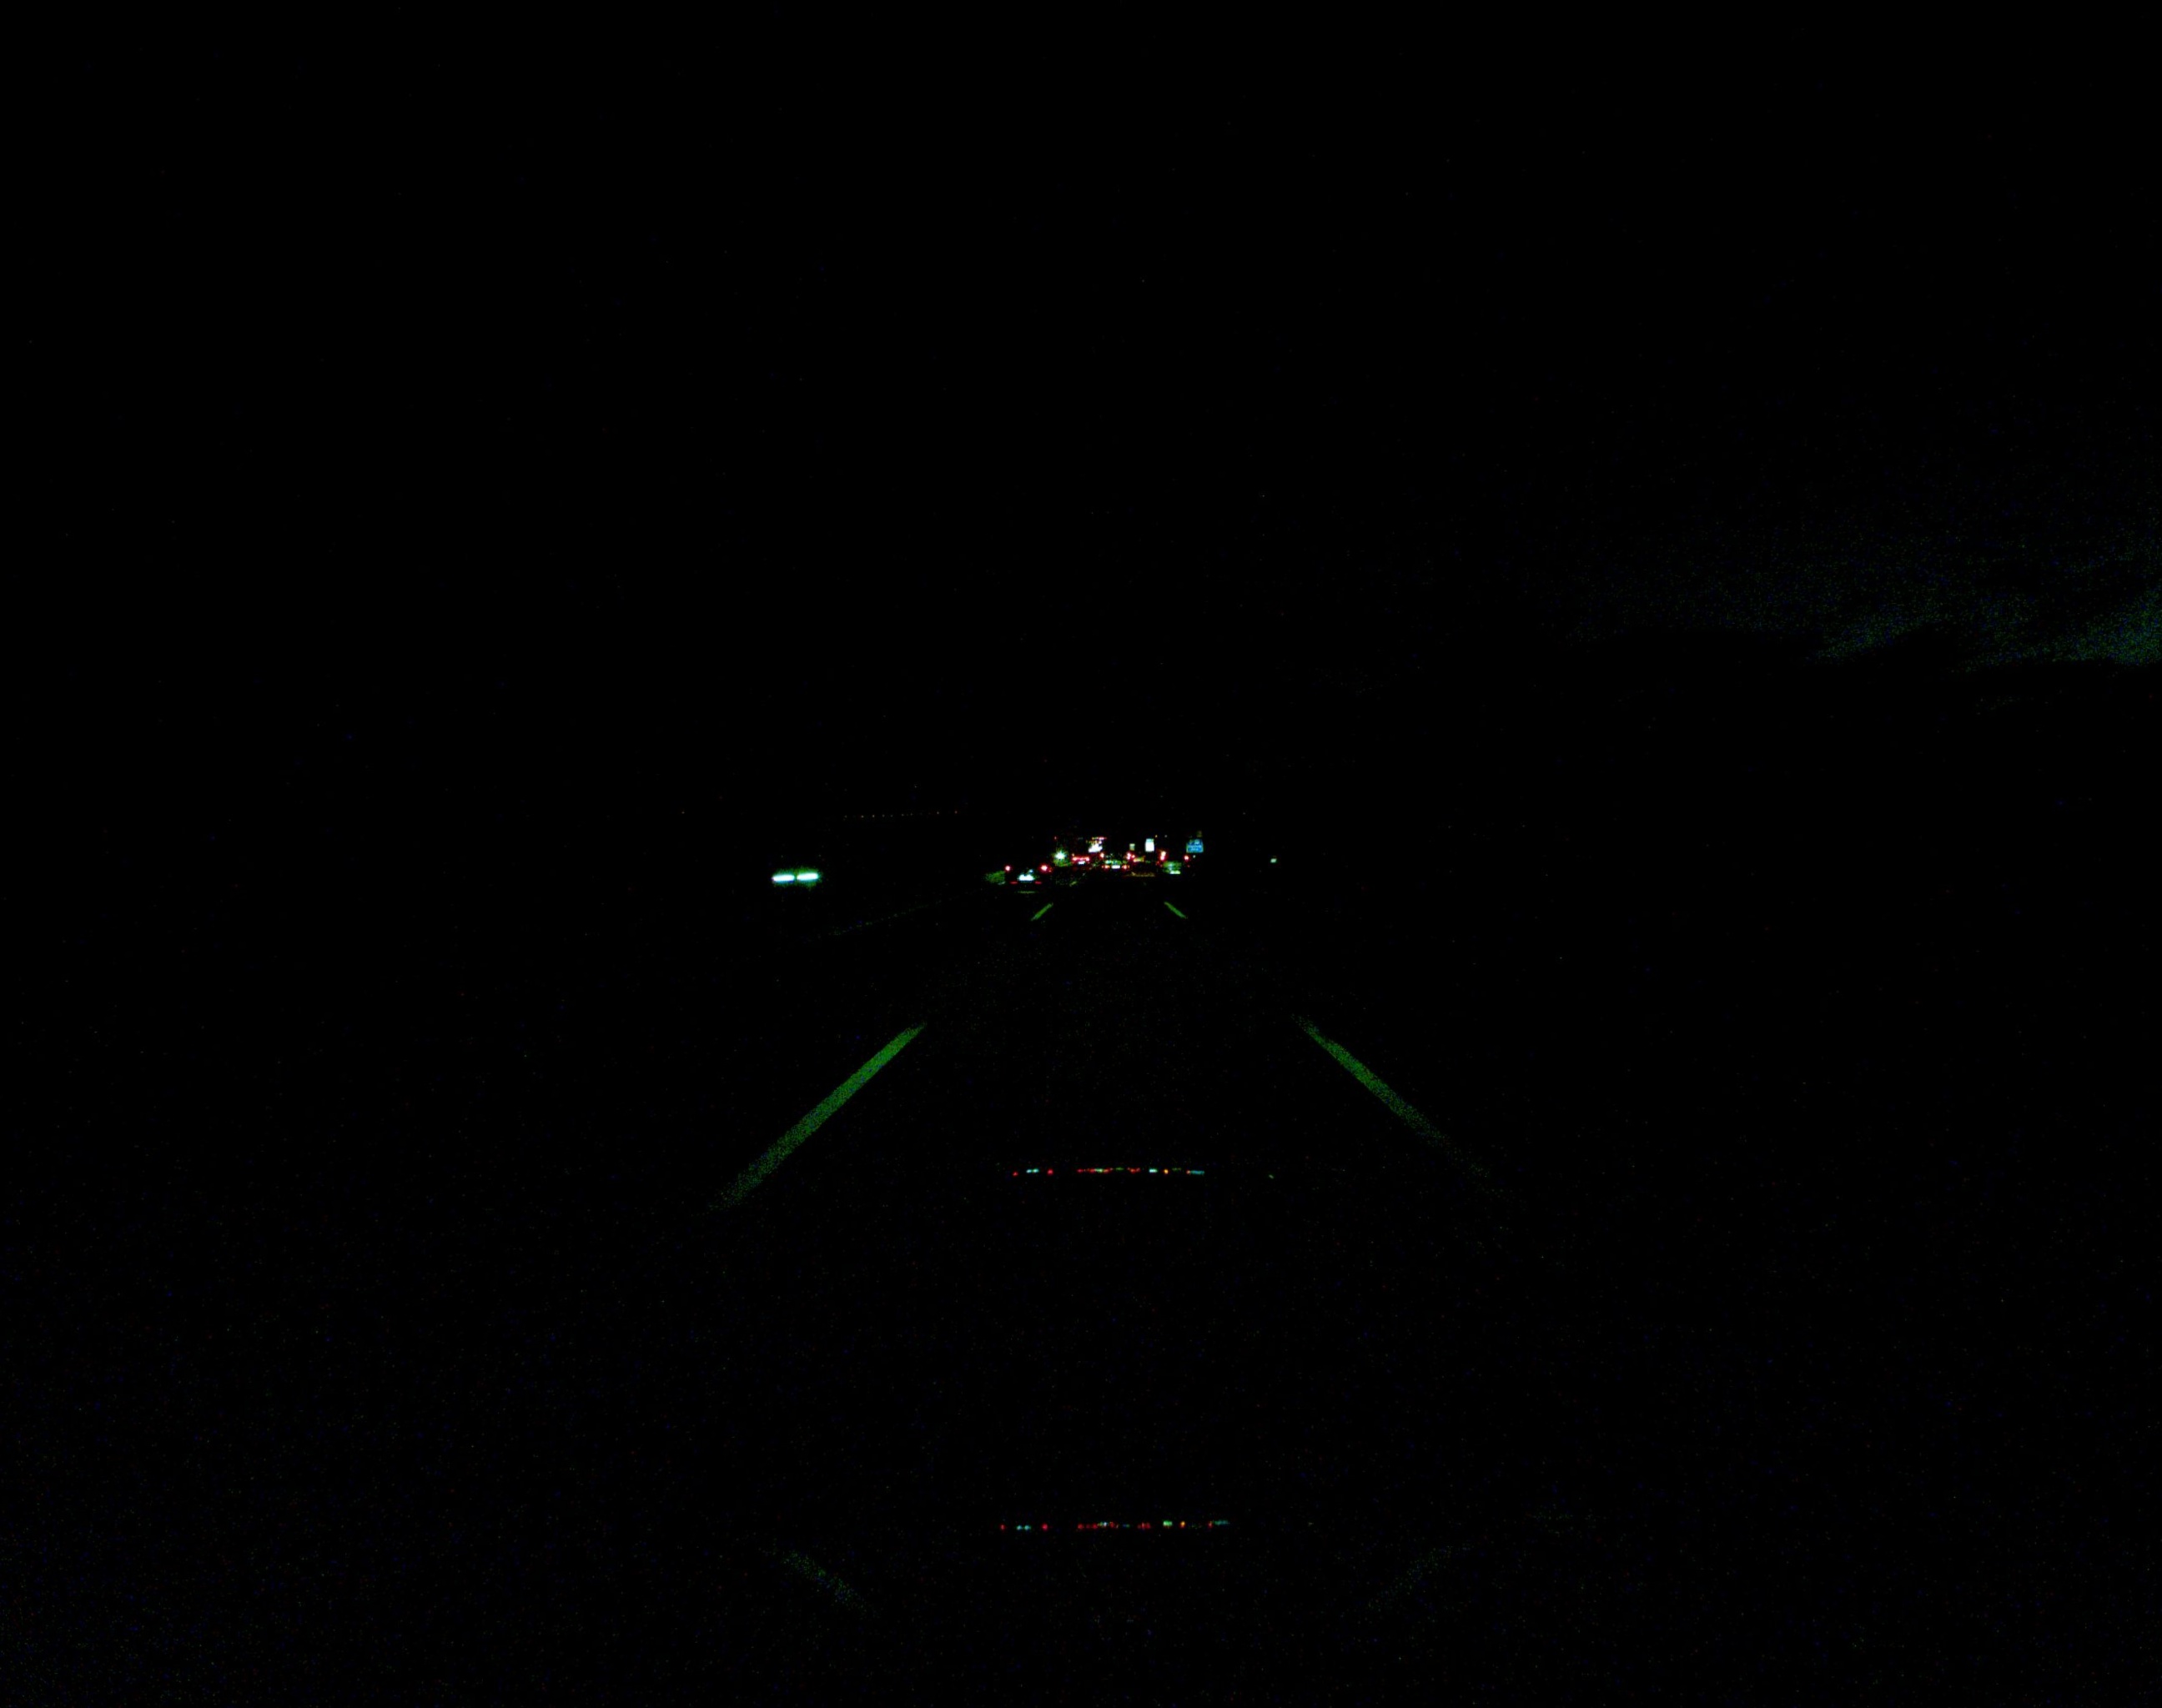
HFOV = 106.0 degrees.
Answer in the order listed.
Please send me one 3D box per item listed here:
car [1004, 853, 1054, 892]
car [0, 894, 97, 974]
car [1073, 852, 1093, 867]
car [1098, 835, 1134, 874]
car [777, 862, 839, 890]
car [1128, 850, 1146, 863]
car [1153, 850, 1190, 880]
[{"bbox_3d":[-2.092,0.721,33.513,1.788,1.469,3.773,0,0,0],"label":"car"},{"bbox_3d":[-19.234,1.415,12.888,1.896,1.282,4.352,-2,0,2],"label":"car"},{"bbox_3d":[0.237,0.539,81.779,1.738,1.440,4.370,-2,0,2],"label":"car"},{"bbox_3d":[2.421,0.040,56.947,2.342,2.535,5.704,-2,0,2],"label":"car"},{"bbox_3d":[-17.165,1.329,51.436,1.956,1.538,5.188,-2,0,2],"label":"car"},{"bbox_3d":[7.060,0.336,102.821,2.154,1.563,4.725,-1,0,2],"label":"car"},{"bbox_3d":[4.984,0.587,45.420,1.640,1.596,4.511,0,0,1],"label":"car"}]
